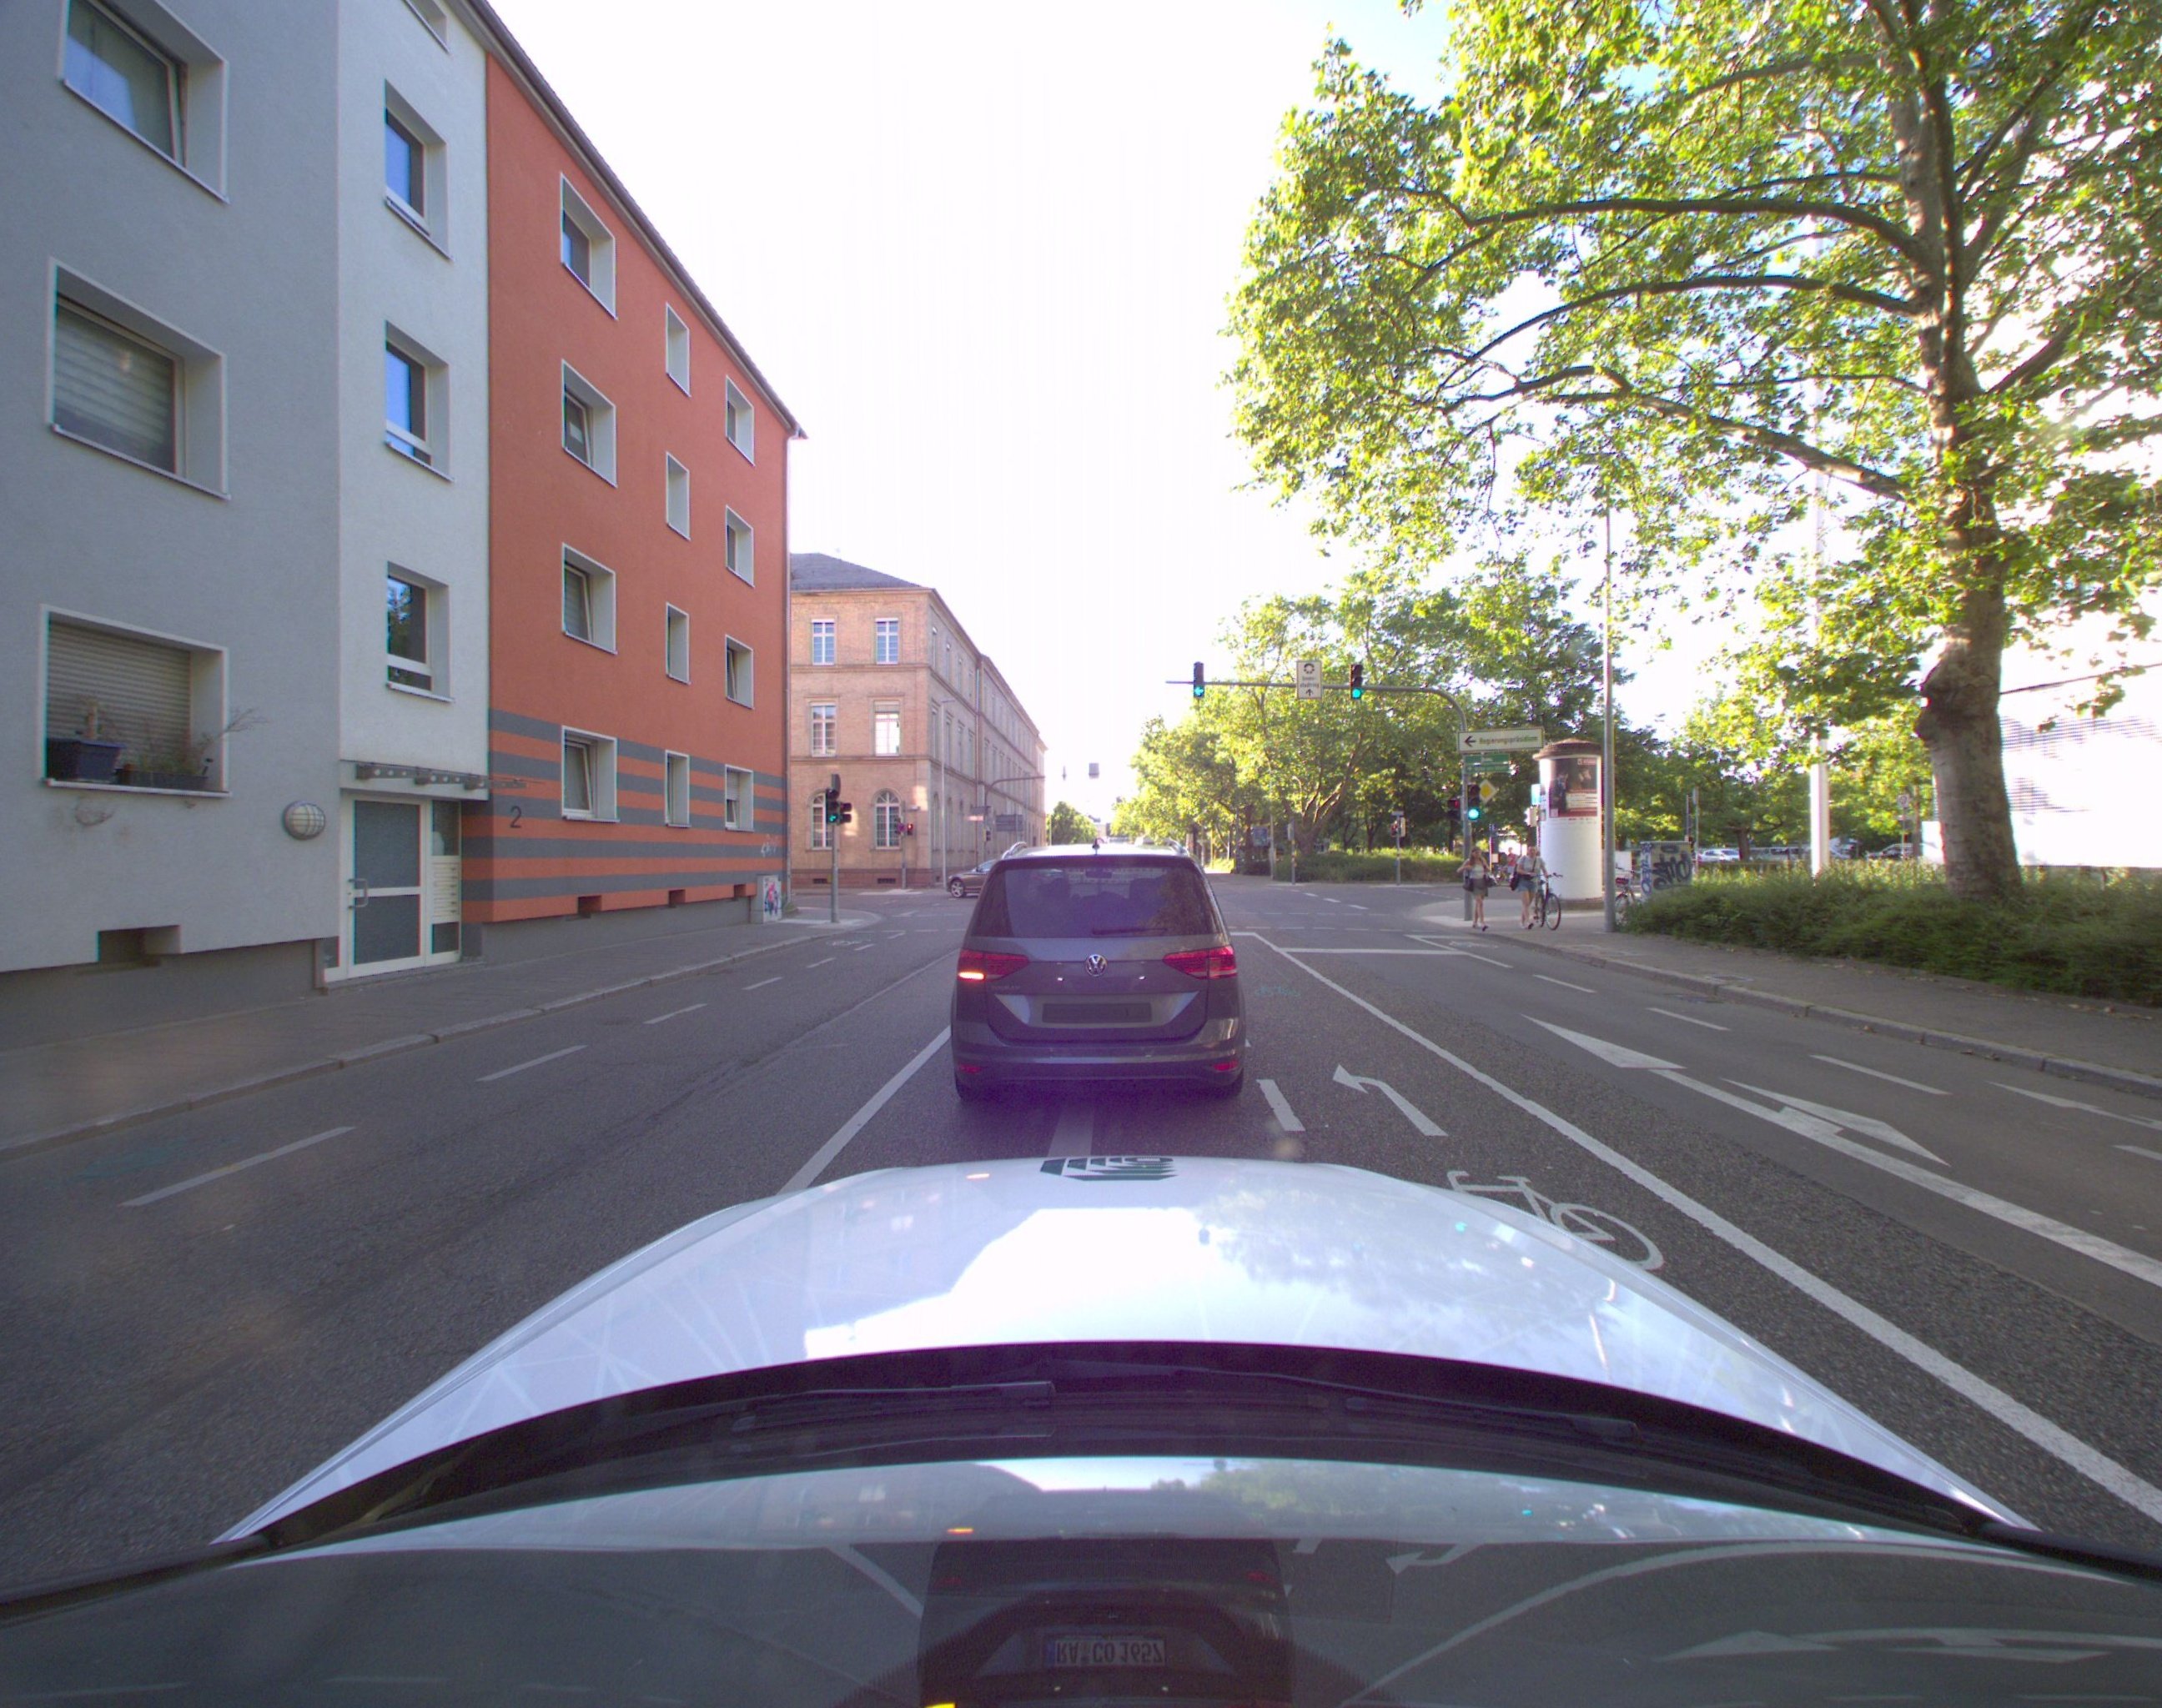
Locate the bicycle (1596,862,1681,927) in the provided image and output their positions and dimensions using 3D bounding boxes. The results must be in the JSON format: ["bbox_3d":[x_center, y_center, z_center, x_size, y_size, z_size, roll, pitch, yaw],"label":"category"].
[{"bbox_3d":[10.925,0.765,15.935,1.998,1.182,0.466,-1,-1,-28],"label":"bicycle"}]

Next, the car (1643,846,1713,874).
[{"bbox_3d":[40.684,0.404,55.609,1.985,1.779,4.002,0,-1,2],"label":"car"}]

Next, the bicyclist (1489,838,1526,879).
[{"bbox_3d":[18.737,0.201,35.781,1.124,1.808,0.978,0,-1,0],"label":"bicyclist"}]

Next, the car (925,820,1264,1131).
[{"bbox_3d":[0.152,0.631,6.241,1.755,1.607,4.002,-1,0,2],"label":"car"}]

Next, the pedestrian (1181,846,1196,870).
[{"bbox_3d":[12.400,0.468,93.915,1.417,2.667,1.146,0,-1,-6],"label":"pedestrian"}]

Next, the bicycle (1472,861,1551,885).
[{"bbox_3d":[18.908,0.833,35.793,2.987,1.038,0.942,0,-1,-1],"label":"bicycle"}]

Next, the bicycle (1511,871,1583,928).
[{"bbox_3d":[9.133,0.864,16.026,0.519,1.035,1.648,0,-1,2],"label":"bicycle"}]

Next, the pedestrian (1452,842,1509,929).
[{"bbox_3d":[8.197,0.637,16.734,0.770,1.719,0.692,-2,-1,1],"label":"pedestrian"}]

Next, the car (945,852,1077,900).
[{"bbox_3d":[-2.496,0.729,28.424,4.450,1.529,1.942,0,0,37],"label":"car"}]

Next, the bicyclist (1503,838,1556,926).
[{"bbox_3d":[8.972,0.561,16.306,0.630,1.714,0.655,-1,-2,1],"label":"bicyclist"}]

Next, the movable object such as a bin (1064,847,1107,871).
[{"bbox_3d":[0.528,0.590,97.807,4.782,2.777,2.488,-1,-1,45],"label":"movable object such as a bin"}]
